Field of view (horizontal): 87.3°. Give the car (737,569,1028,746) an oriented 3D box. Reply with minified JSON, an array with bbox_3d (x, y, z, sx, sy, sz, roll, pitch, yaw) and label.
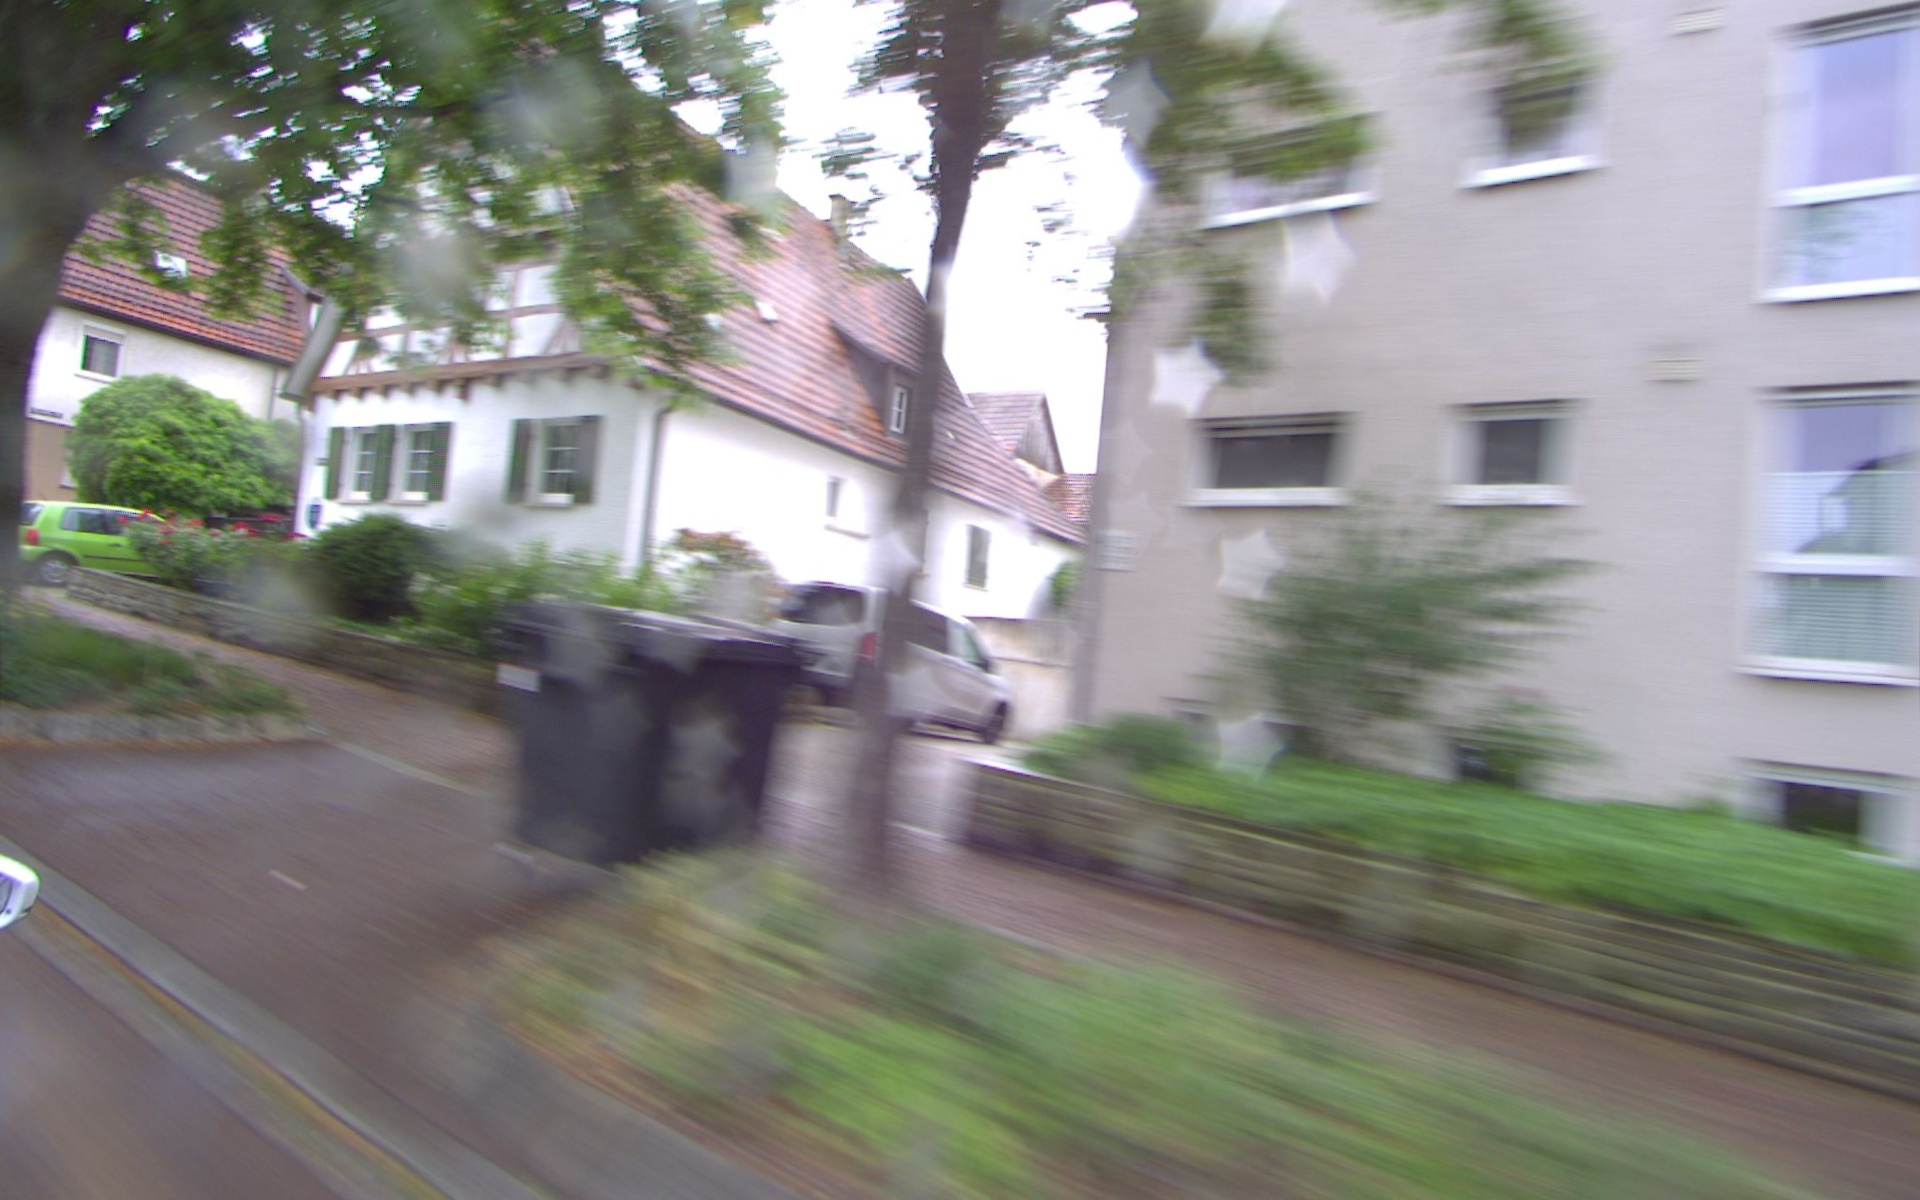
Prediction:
[{"bbox_3d":[-0.955,0.981,15.169,1.966,1.918,4.480,6,-6,30],"label":"car"}]

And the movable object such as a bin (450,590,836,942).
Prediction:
[{"bbox_3d":[-1.495,0.722,4.866,1.116,1.331,1.226,7,-1,34],"label":"movable object such as a bin"}]

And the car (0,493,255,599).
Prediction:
[{"bbox_3d":[-15.302,-0.936,18.497,1.602,1.448,3.371,7,-1,28],"label":"car"}]
